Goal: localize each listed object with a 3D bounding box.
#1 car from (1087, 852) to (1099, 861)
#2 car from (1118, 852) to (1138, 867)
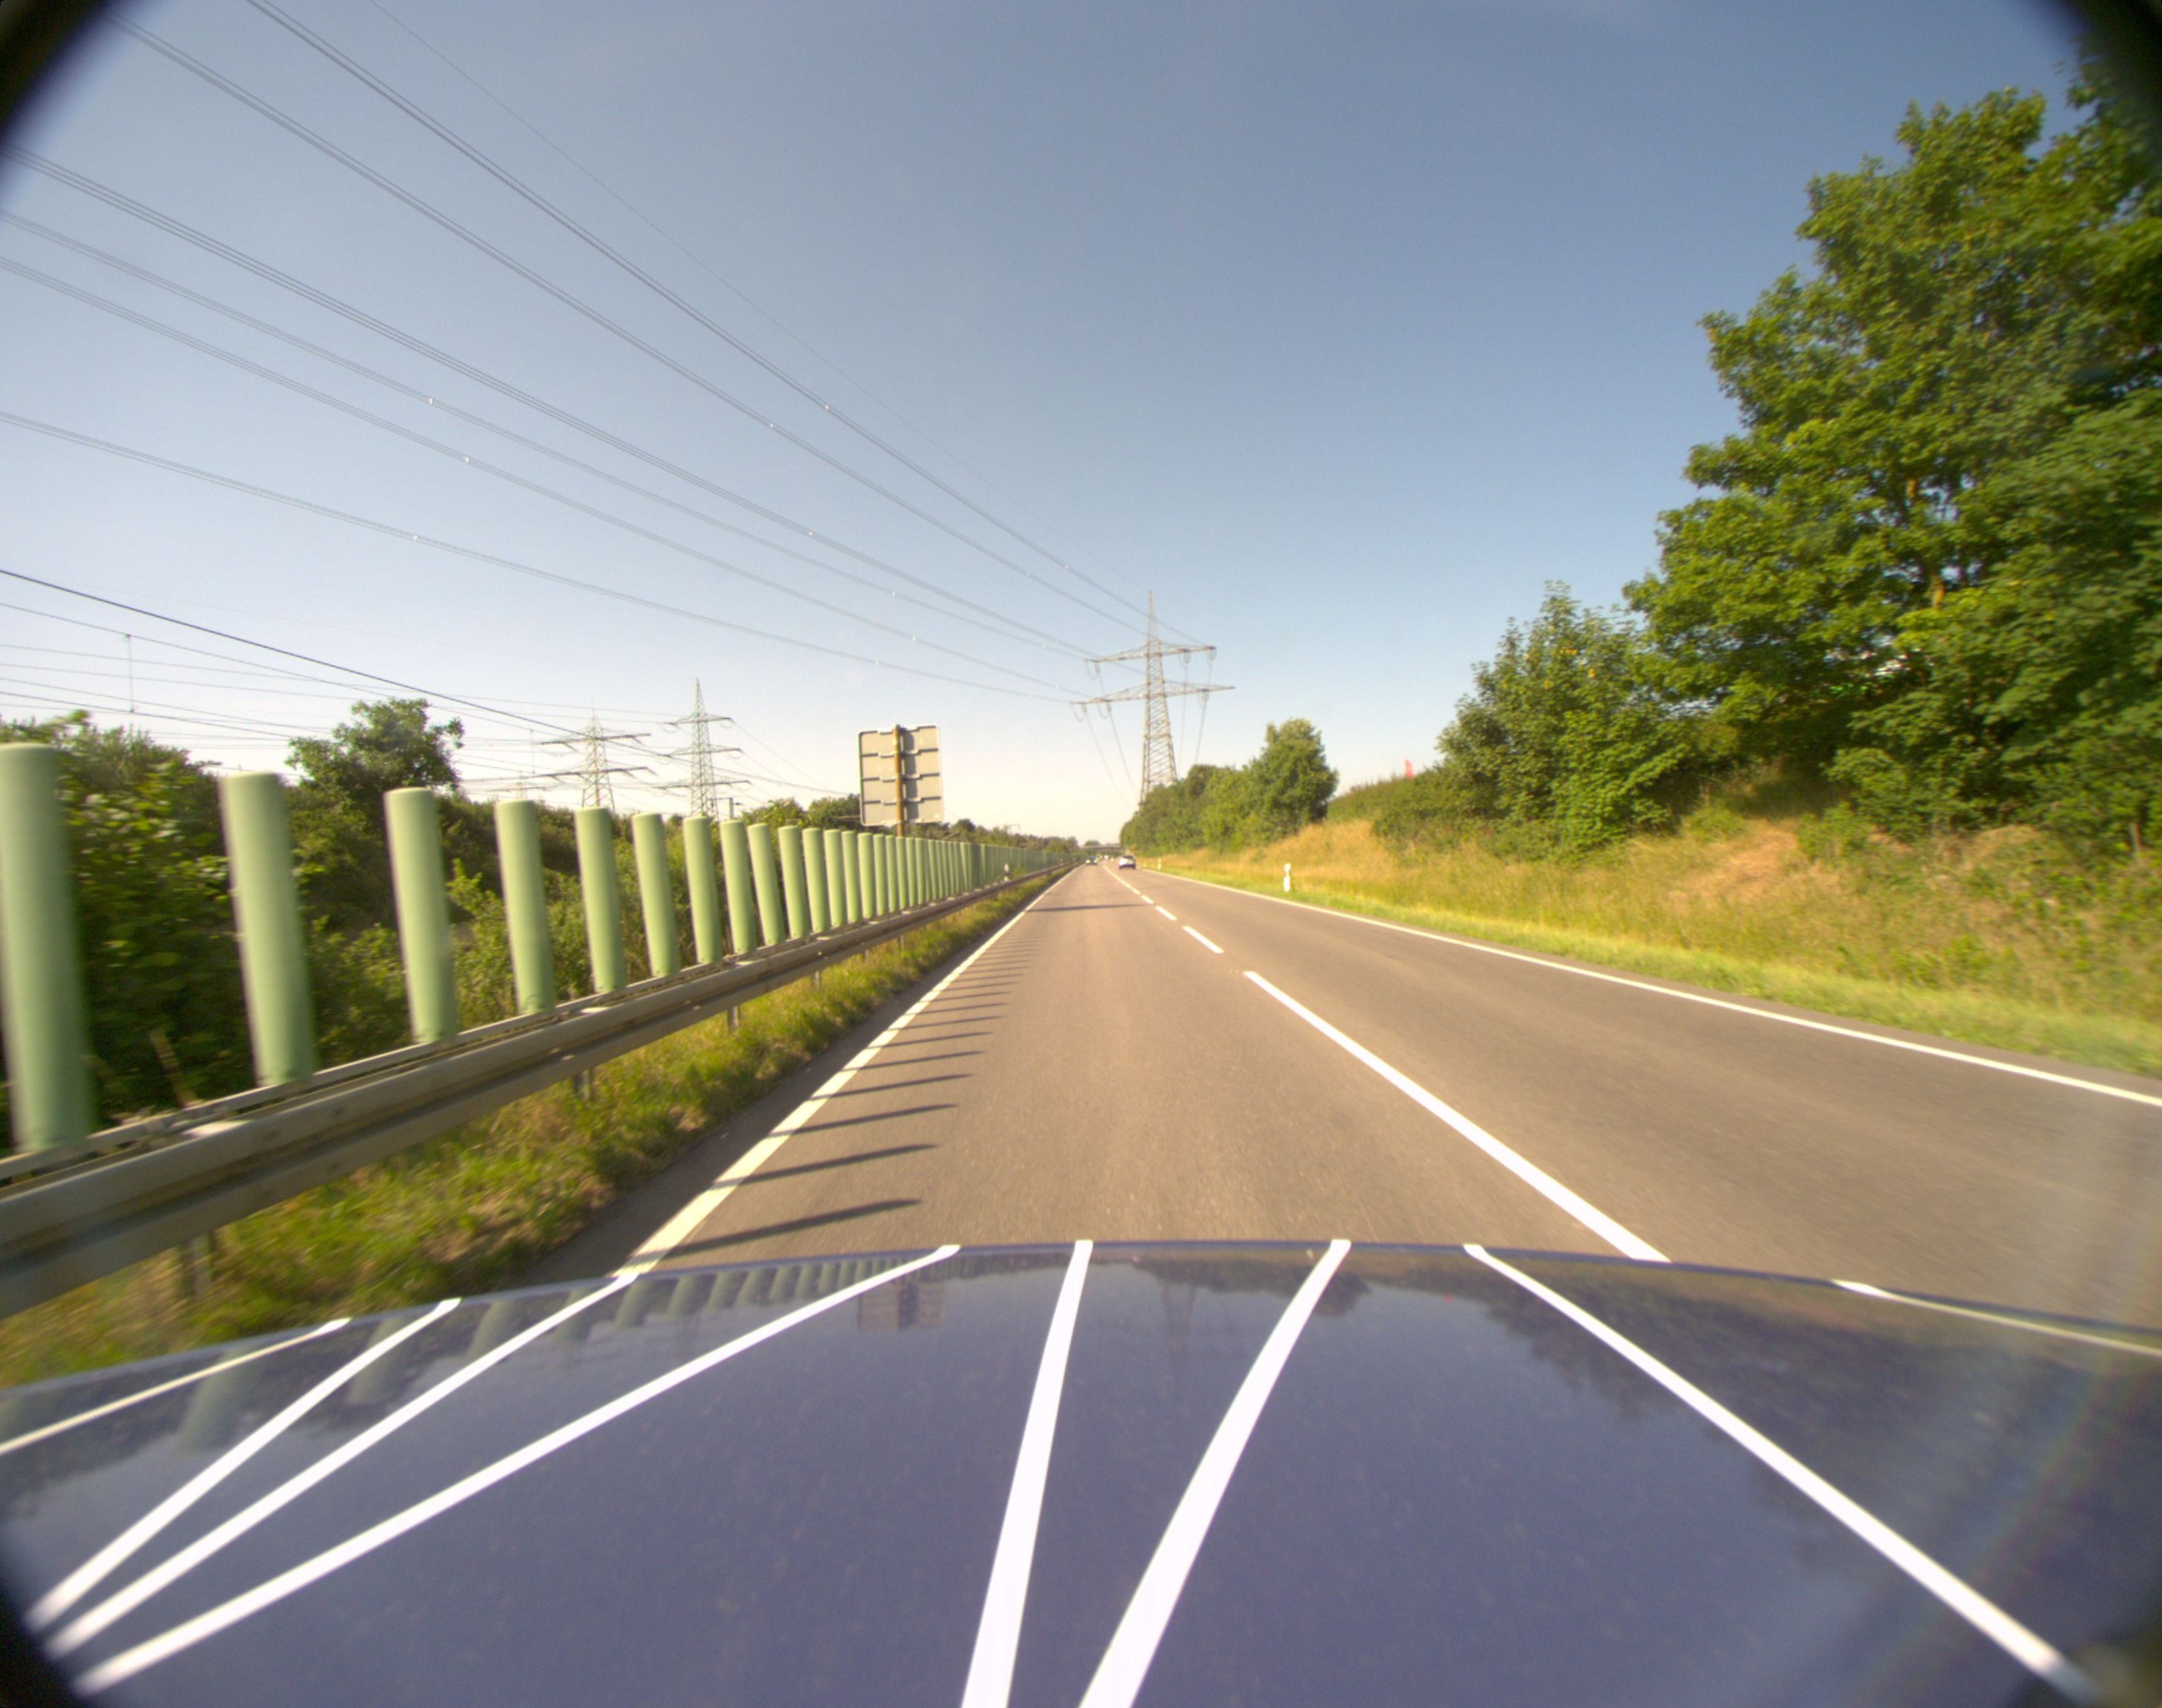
[{"bbox_3d":[2.034,0.397,127.299,1.786,1.550,4.001,-1,0,3],"label":"car"},{"bbox_3d":[5.179,0.587,84.178,1.800,1.584,3.999,-2,1,0],"label":"car"}]
